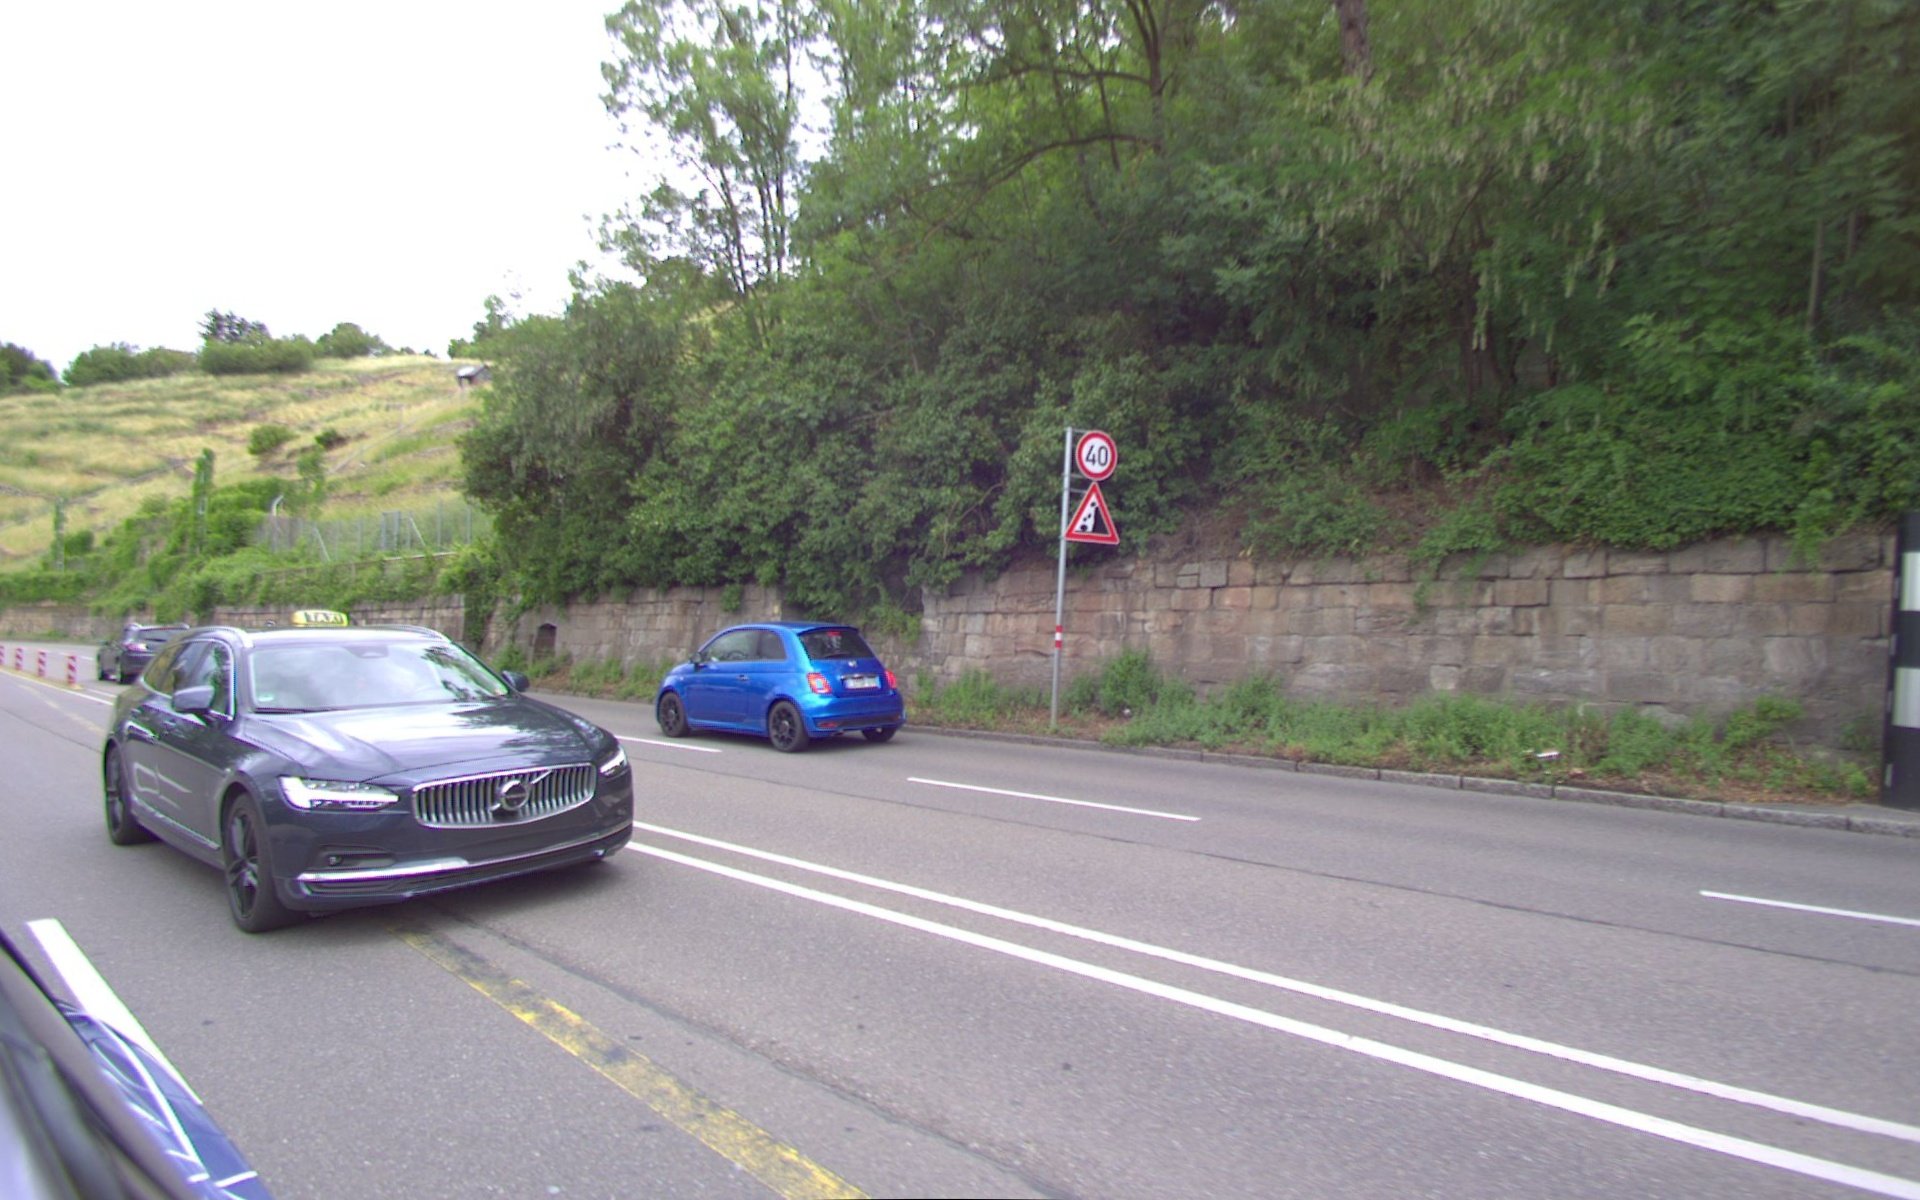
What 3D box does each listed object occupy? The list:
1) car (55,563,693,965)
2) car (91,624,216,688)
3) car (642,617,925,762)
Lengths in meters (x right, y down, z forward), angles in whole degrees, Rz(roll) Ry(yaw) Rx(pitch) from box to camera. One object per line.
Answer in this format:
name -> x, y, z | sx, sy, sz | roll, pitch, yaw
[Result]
car -> -3.976, 0.679, 6.373 | 5.023, 1.588, 1.915 | -1, 0, 41
car -> -20.546, 1.354, 25.727 | 4.295, 1.456, 1.836 | -1, -1, 42
car -> -2.234, 0.968, 12.347 | 3.523, 1.472, 1.567 | -1, 0, 42
